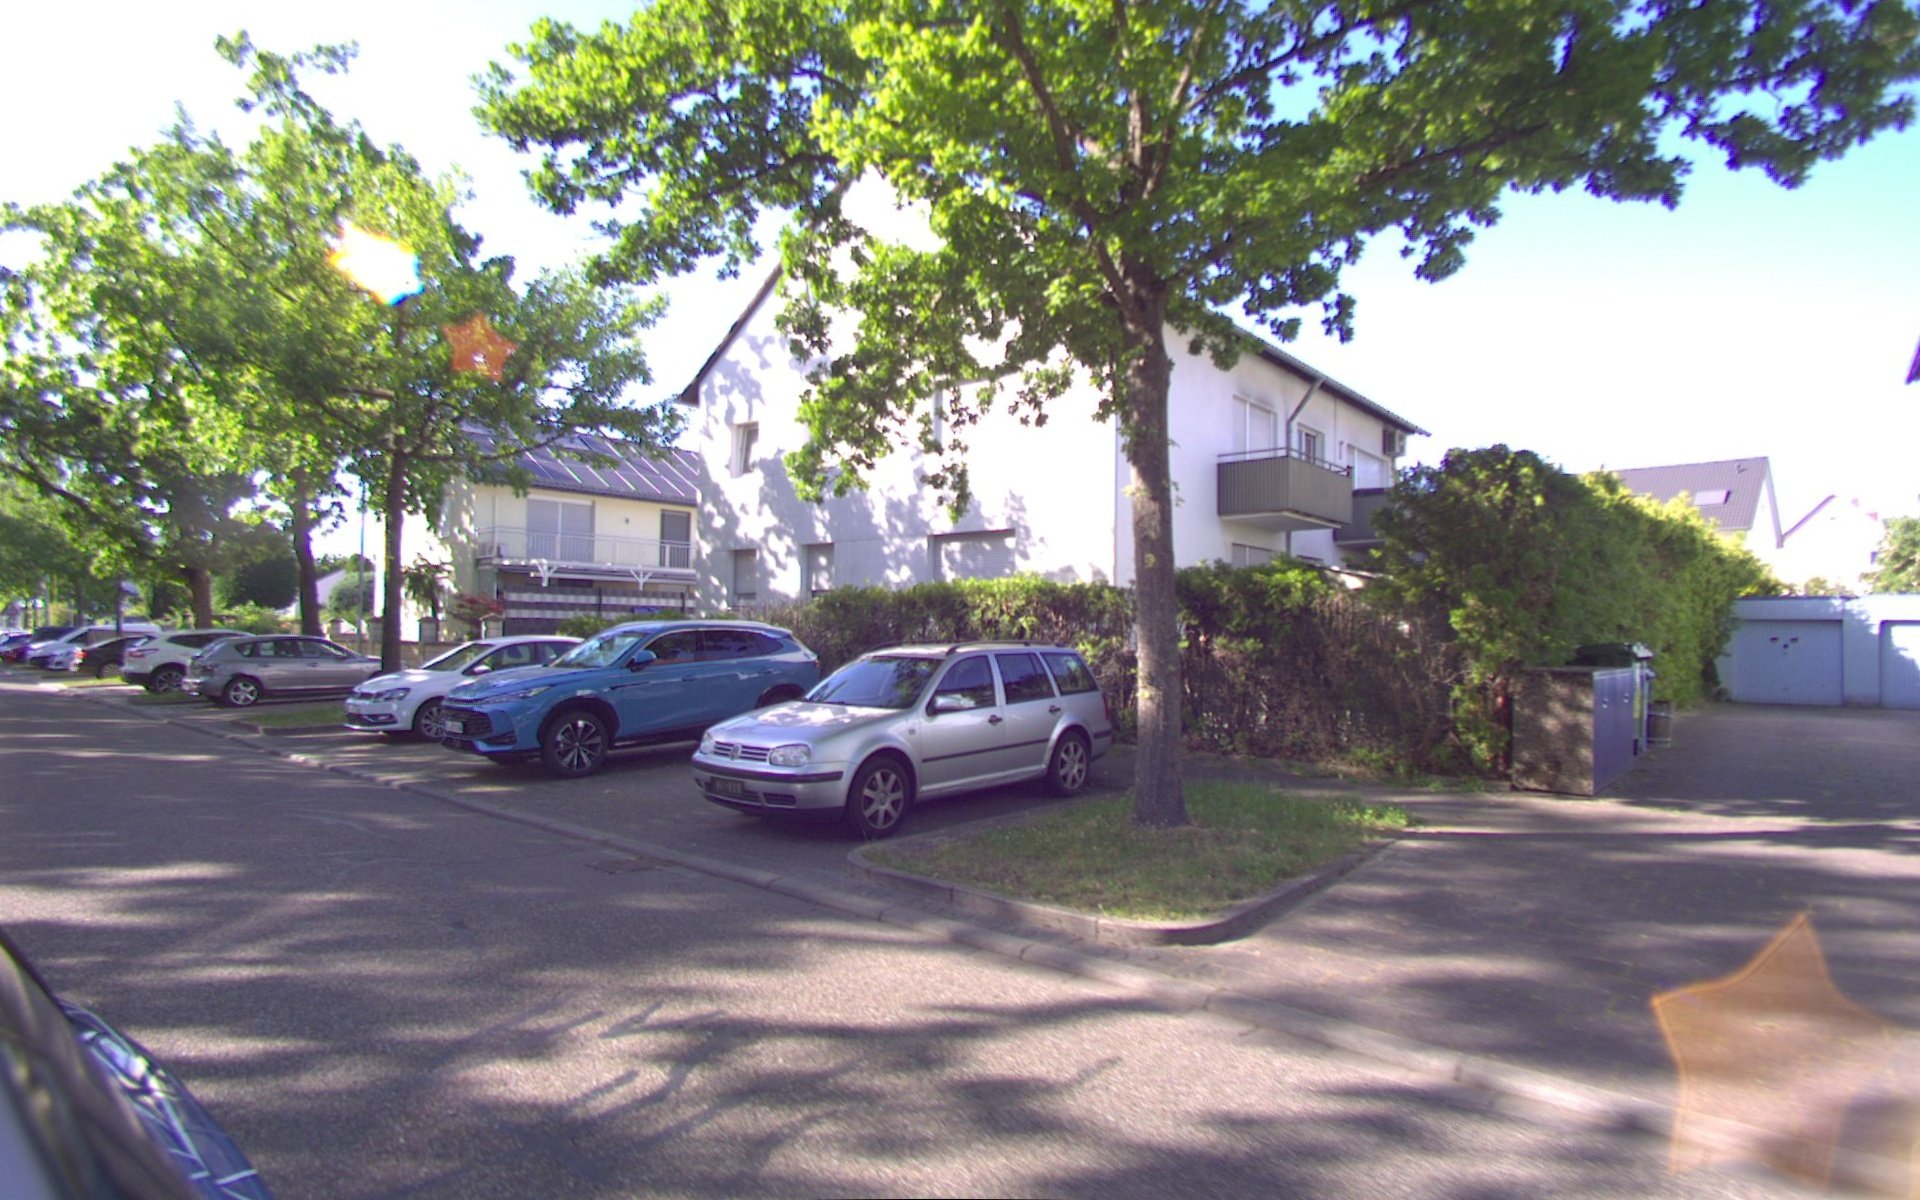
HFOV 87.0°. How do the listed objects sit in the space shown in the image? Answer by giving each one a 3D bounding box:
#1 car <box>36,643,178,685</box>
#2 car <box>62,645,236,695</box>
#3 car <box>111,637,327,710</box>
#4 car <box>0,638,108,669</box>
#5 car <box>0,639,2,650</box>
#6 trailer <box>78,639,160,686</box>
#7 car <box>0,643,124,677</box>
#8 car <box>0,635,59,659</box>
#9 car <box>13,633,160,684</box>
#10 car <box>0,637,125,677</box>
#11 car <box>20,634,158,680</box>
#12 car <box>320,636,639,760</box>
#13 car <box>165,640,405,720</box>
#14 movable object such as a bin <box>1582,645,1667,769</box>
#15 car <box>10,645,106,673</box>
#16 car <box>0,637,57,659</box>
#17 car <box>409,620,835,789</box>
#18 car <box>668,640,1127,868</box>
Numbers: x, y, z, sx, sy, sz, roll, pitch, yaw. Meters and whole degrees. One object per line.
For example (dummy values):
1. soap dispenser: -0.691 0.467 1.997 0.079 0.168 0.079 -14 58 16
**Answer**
1. car: -33.127 2.460 39.394 1.689 1.528 3.947 -2 -3 39
2. car: -25.868 2.191 32.372 1.691 1.483 4.162 -2 -4 45
3. car: -18.470 1.766 25.363 1.792 1.579 4.141 -2 -2 43
4. car: -46.350 2.688 51.595 1.721 1.435 4.230 -2 -2 38
5. car: -119.880 5.470 125.292 1.740 1.409 3.853 7 -6 -44
6. trailer: -31.453 2.334 37.860 2.209 1.686 1.476 3 -4 -43
7. car: -42.396 2.819 47.690 1.836 1.511 4.427 -2 -4 43
8. car: -66.911 3.327 72.017 1.919 1.586 3.915 -1 -1 37
9. car: -35.344 2.349 41.043 1.998 1.959 4.193 -2 -4 40
10. car: -44.123 2.772 49.719 1.795 1.782 4.623 -3 -2 42
11. car: -37.116 2.391 43.188 1.966 1.783 4.195 -2 -2 40
12. car: -7.192 1.442 15.447 1.857 1.608 3.944 -1 -4 42
13. car: -14.487 1.647 21.888 1.809 1.434 3.992 -2 -1 40
14. movable object such as a bin: 7.818 1.215 11.894 0.692 1.361 1.216 -1 -3 40
15. car: -51.656 3.376 57.991 1.796 1.527 3.955 -3 -5 45
16. car: -65.345 3.352 70.513 1.708 1.507 3.476 -3 -4 42
17. car: -3.862 1.146 12.205 1.937 1.643 4.474 -2 -4 43
18. car: -0.324 1.122 8.978 1.646 1.503 4.138 -2 -2 41
